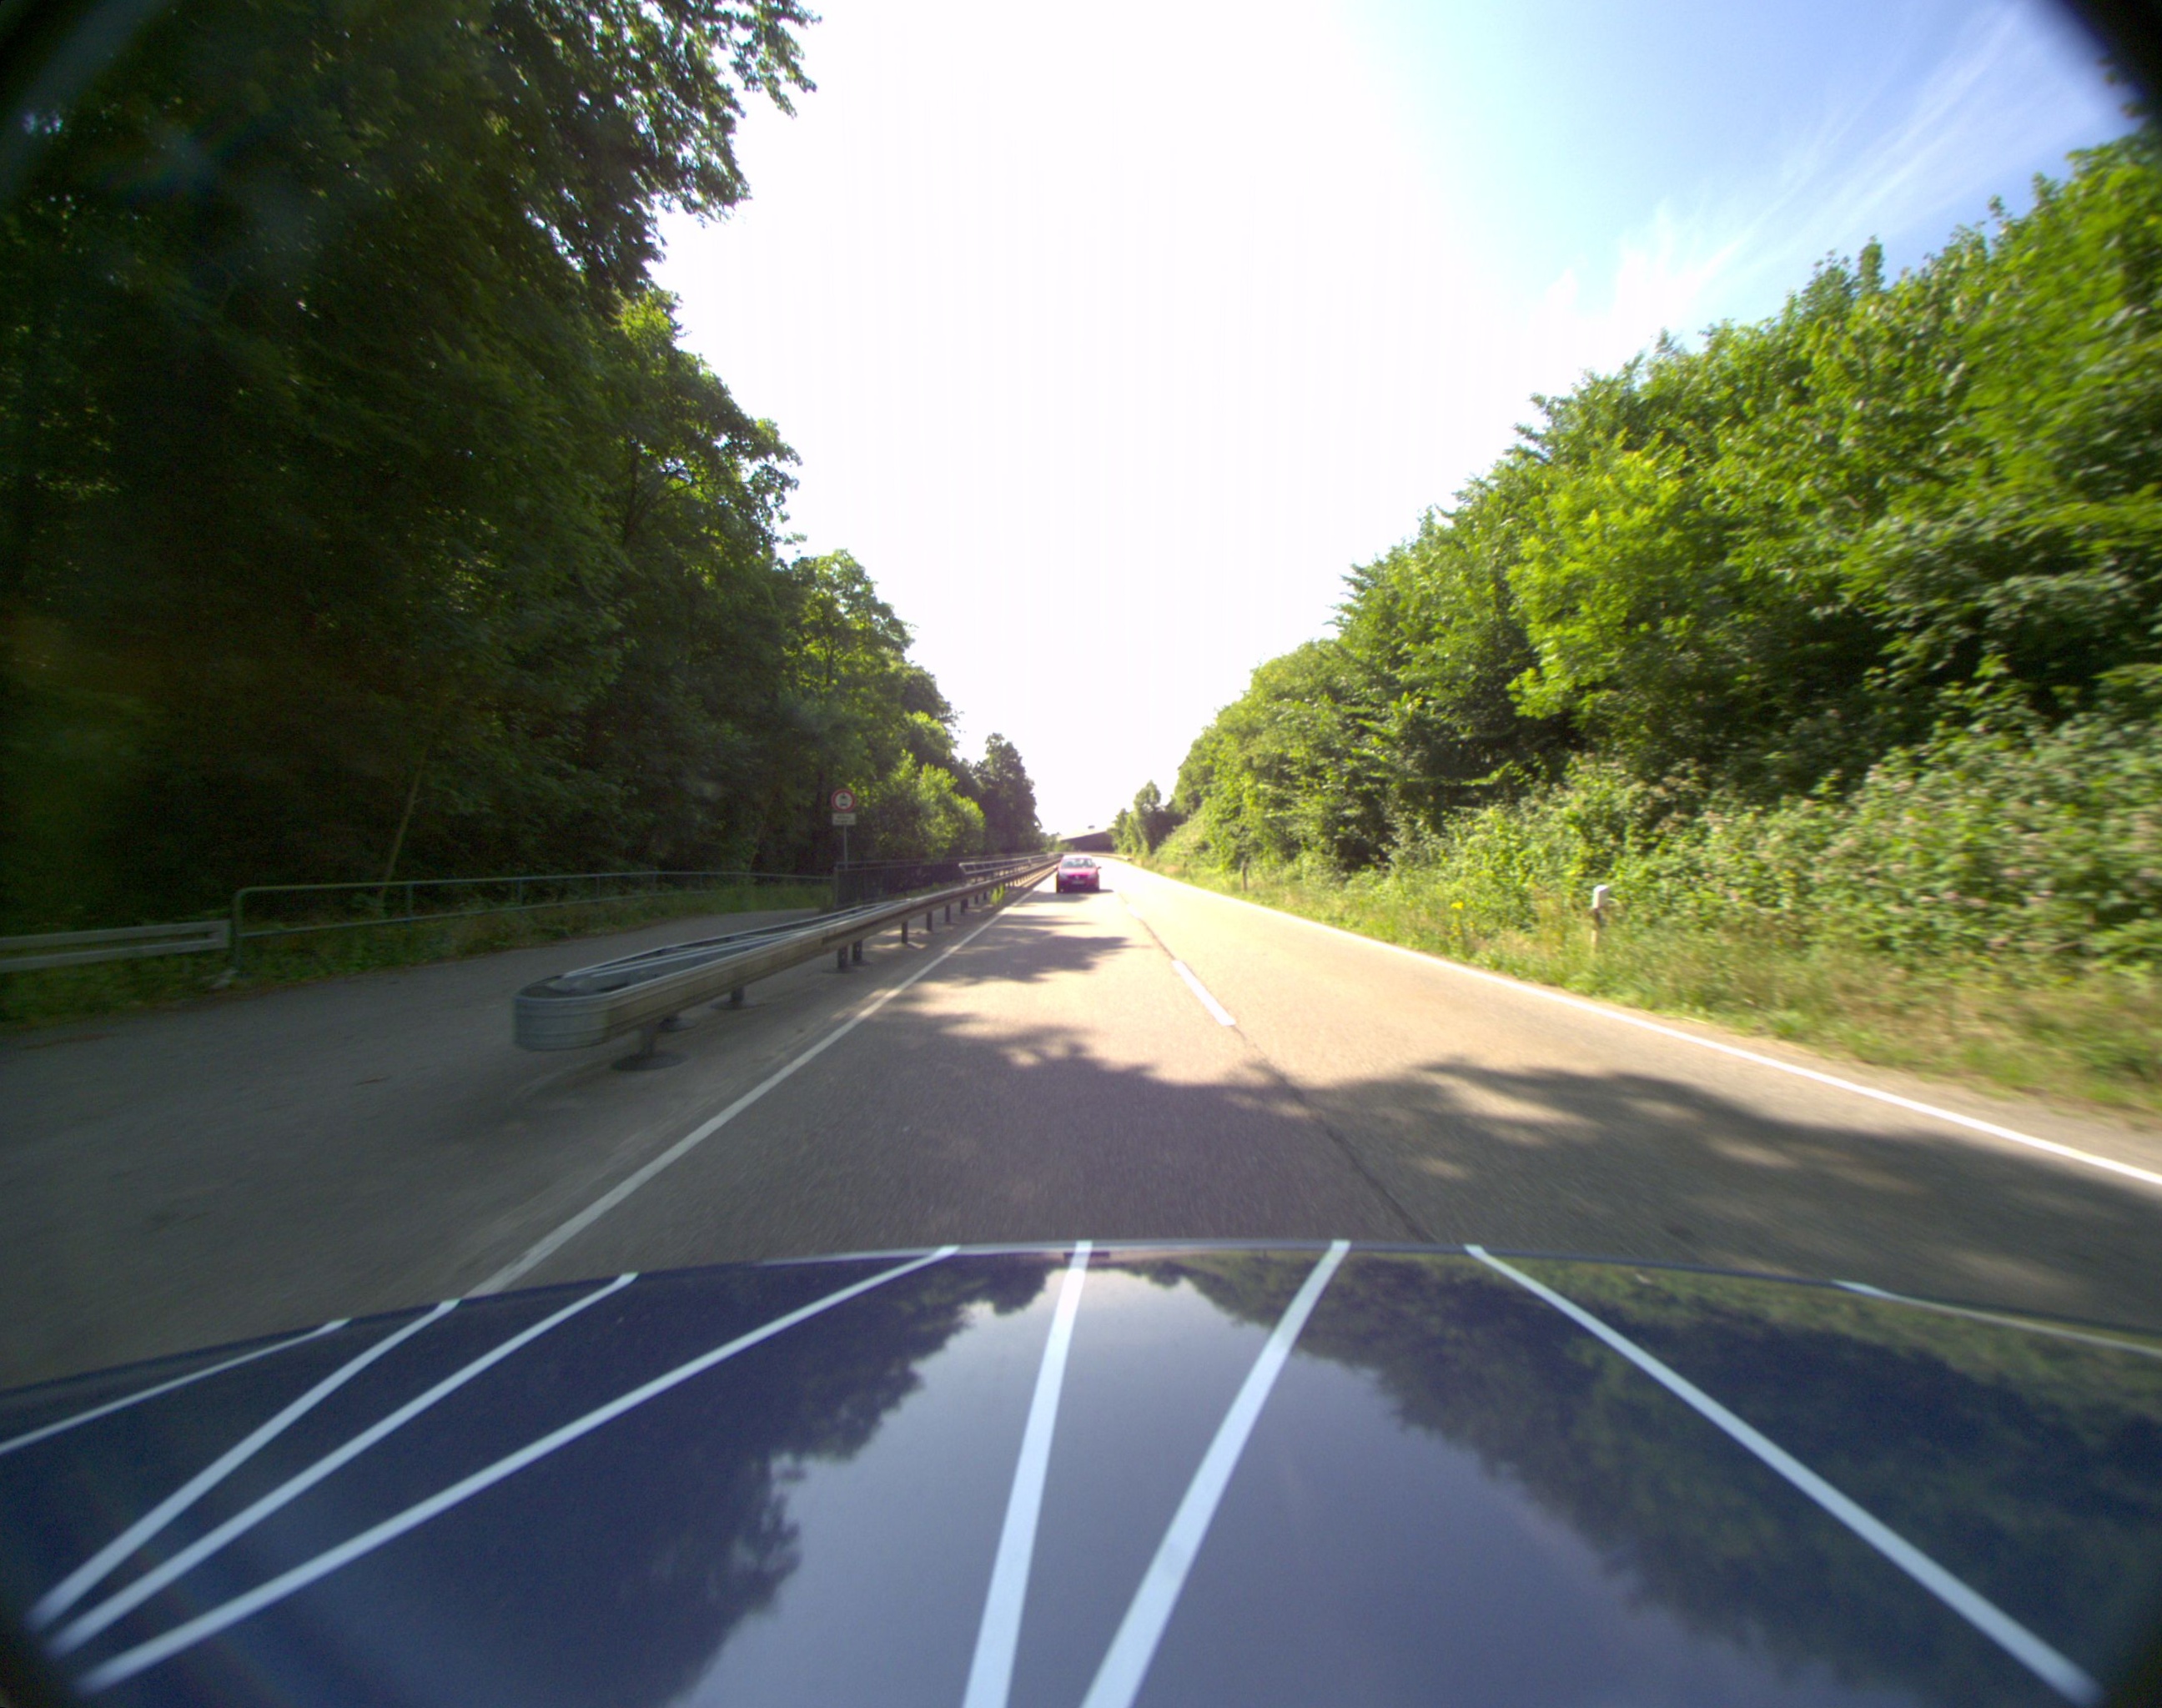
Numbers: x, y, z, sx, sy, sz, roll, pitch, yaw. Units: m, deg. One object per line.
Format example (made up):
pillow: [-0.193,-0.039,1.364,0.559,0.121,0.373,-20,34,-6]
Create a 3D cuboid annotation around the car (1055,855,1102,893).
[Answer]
car: [-0.066,0.779,31.783,1.816,1.488,4.286,0,0,1]
